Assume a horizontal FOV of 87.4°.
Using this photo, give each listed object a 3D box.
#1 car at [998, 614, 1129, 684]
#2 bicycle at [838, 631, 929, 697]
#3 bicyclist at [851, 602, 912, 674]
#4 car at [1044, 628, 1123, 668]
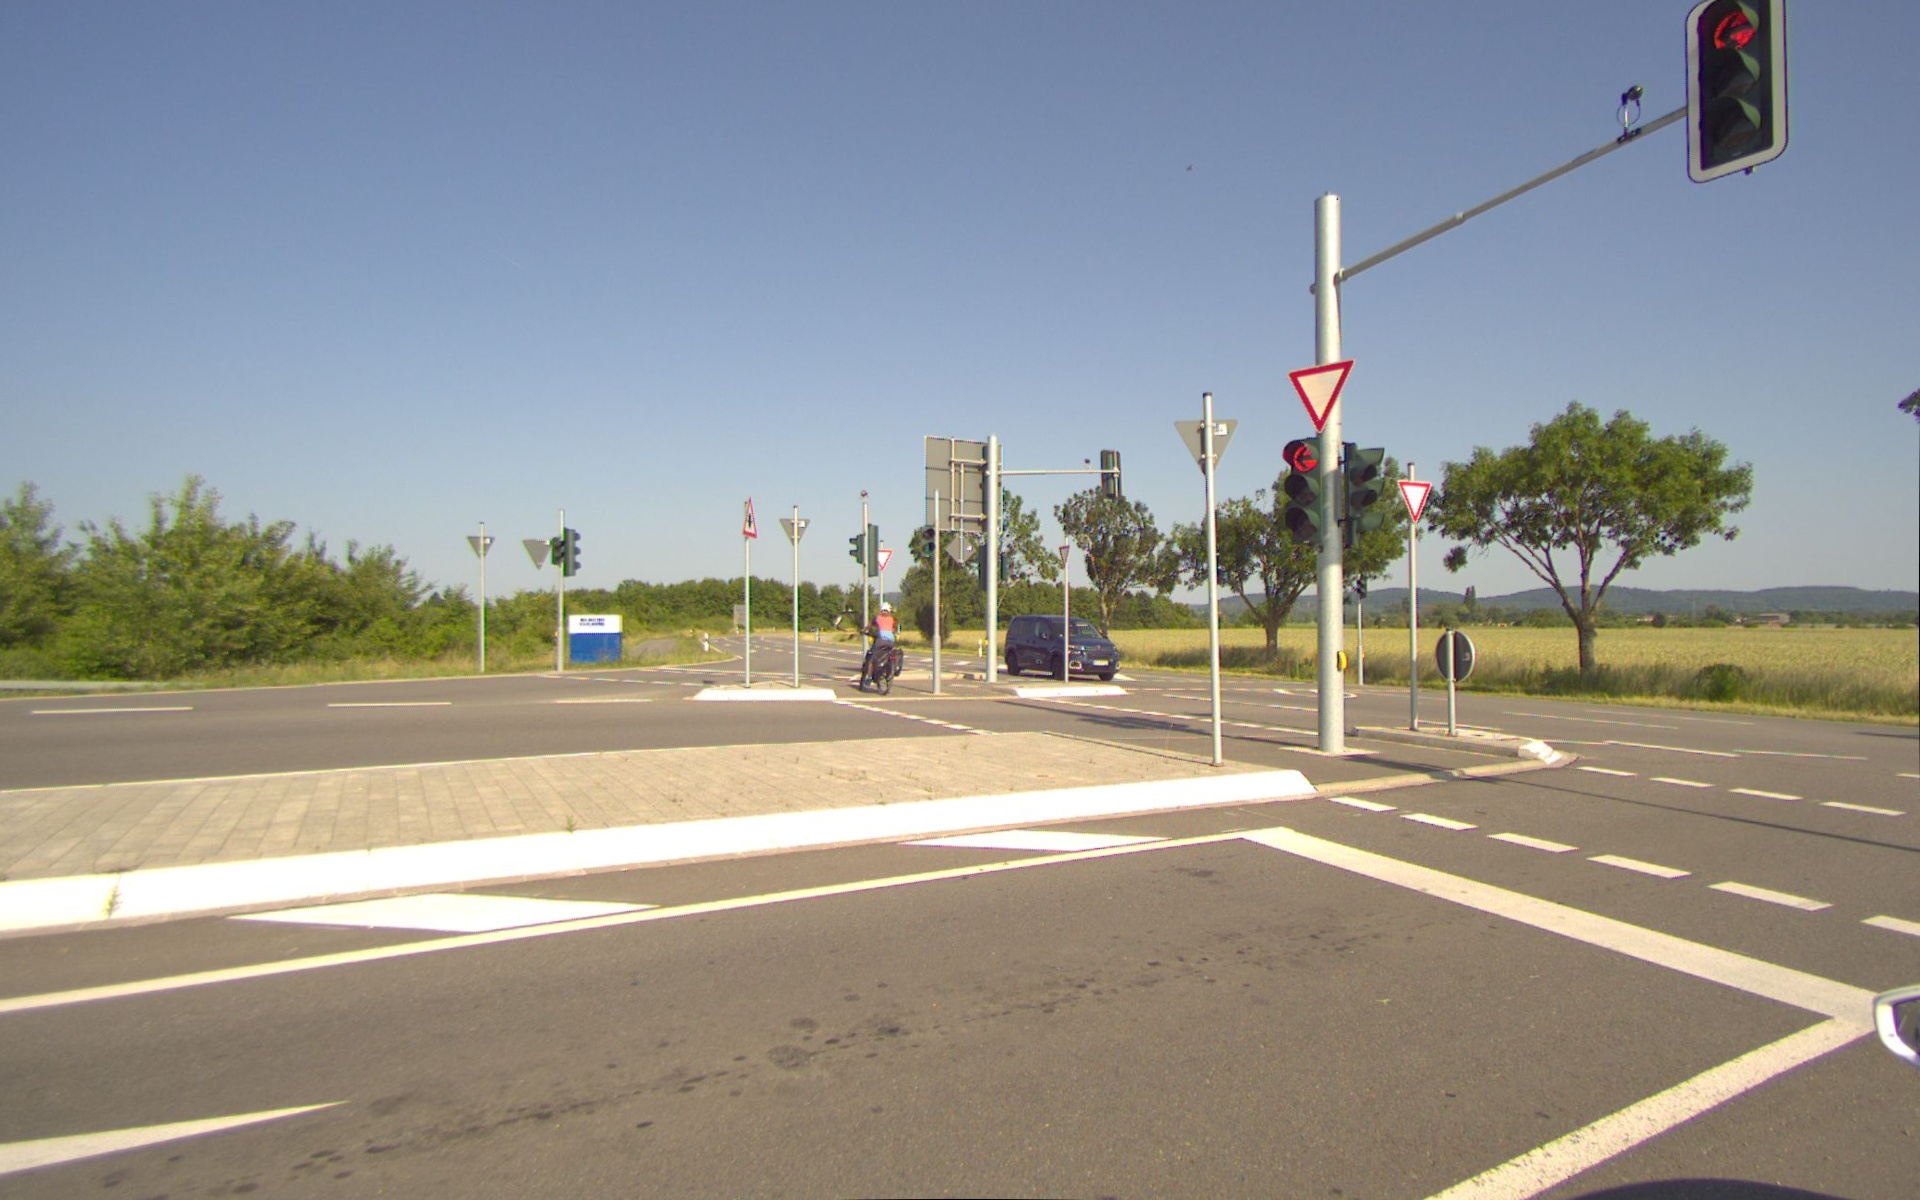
[{"bbox_3d":[2.919,1.374,29.354,1.820,1.858,4.442,2,-1,-23],"label":"car"},{"bbox_3d":[-1.544,1.239,19.764,1.059,1.164,2.137,2,-1,-26],"label":"bicycle"},{"bbox_3d":[-1.570,0.744,19.902,0.847,1.369,1.067,2,-1,-26],"label":"bicyclist"},{"bbox_3d":[5.093,1.969,41.831,1.705,1.544,3.449,2,-1,-24],"label":"car"}]
